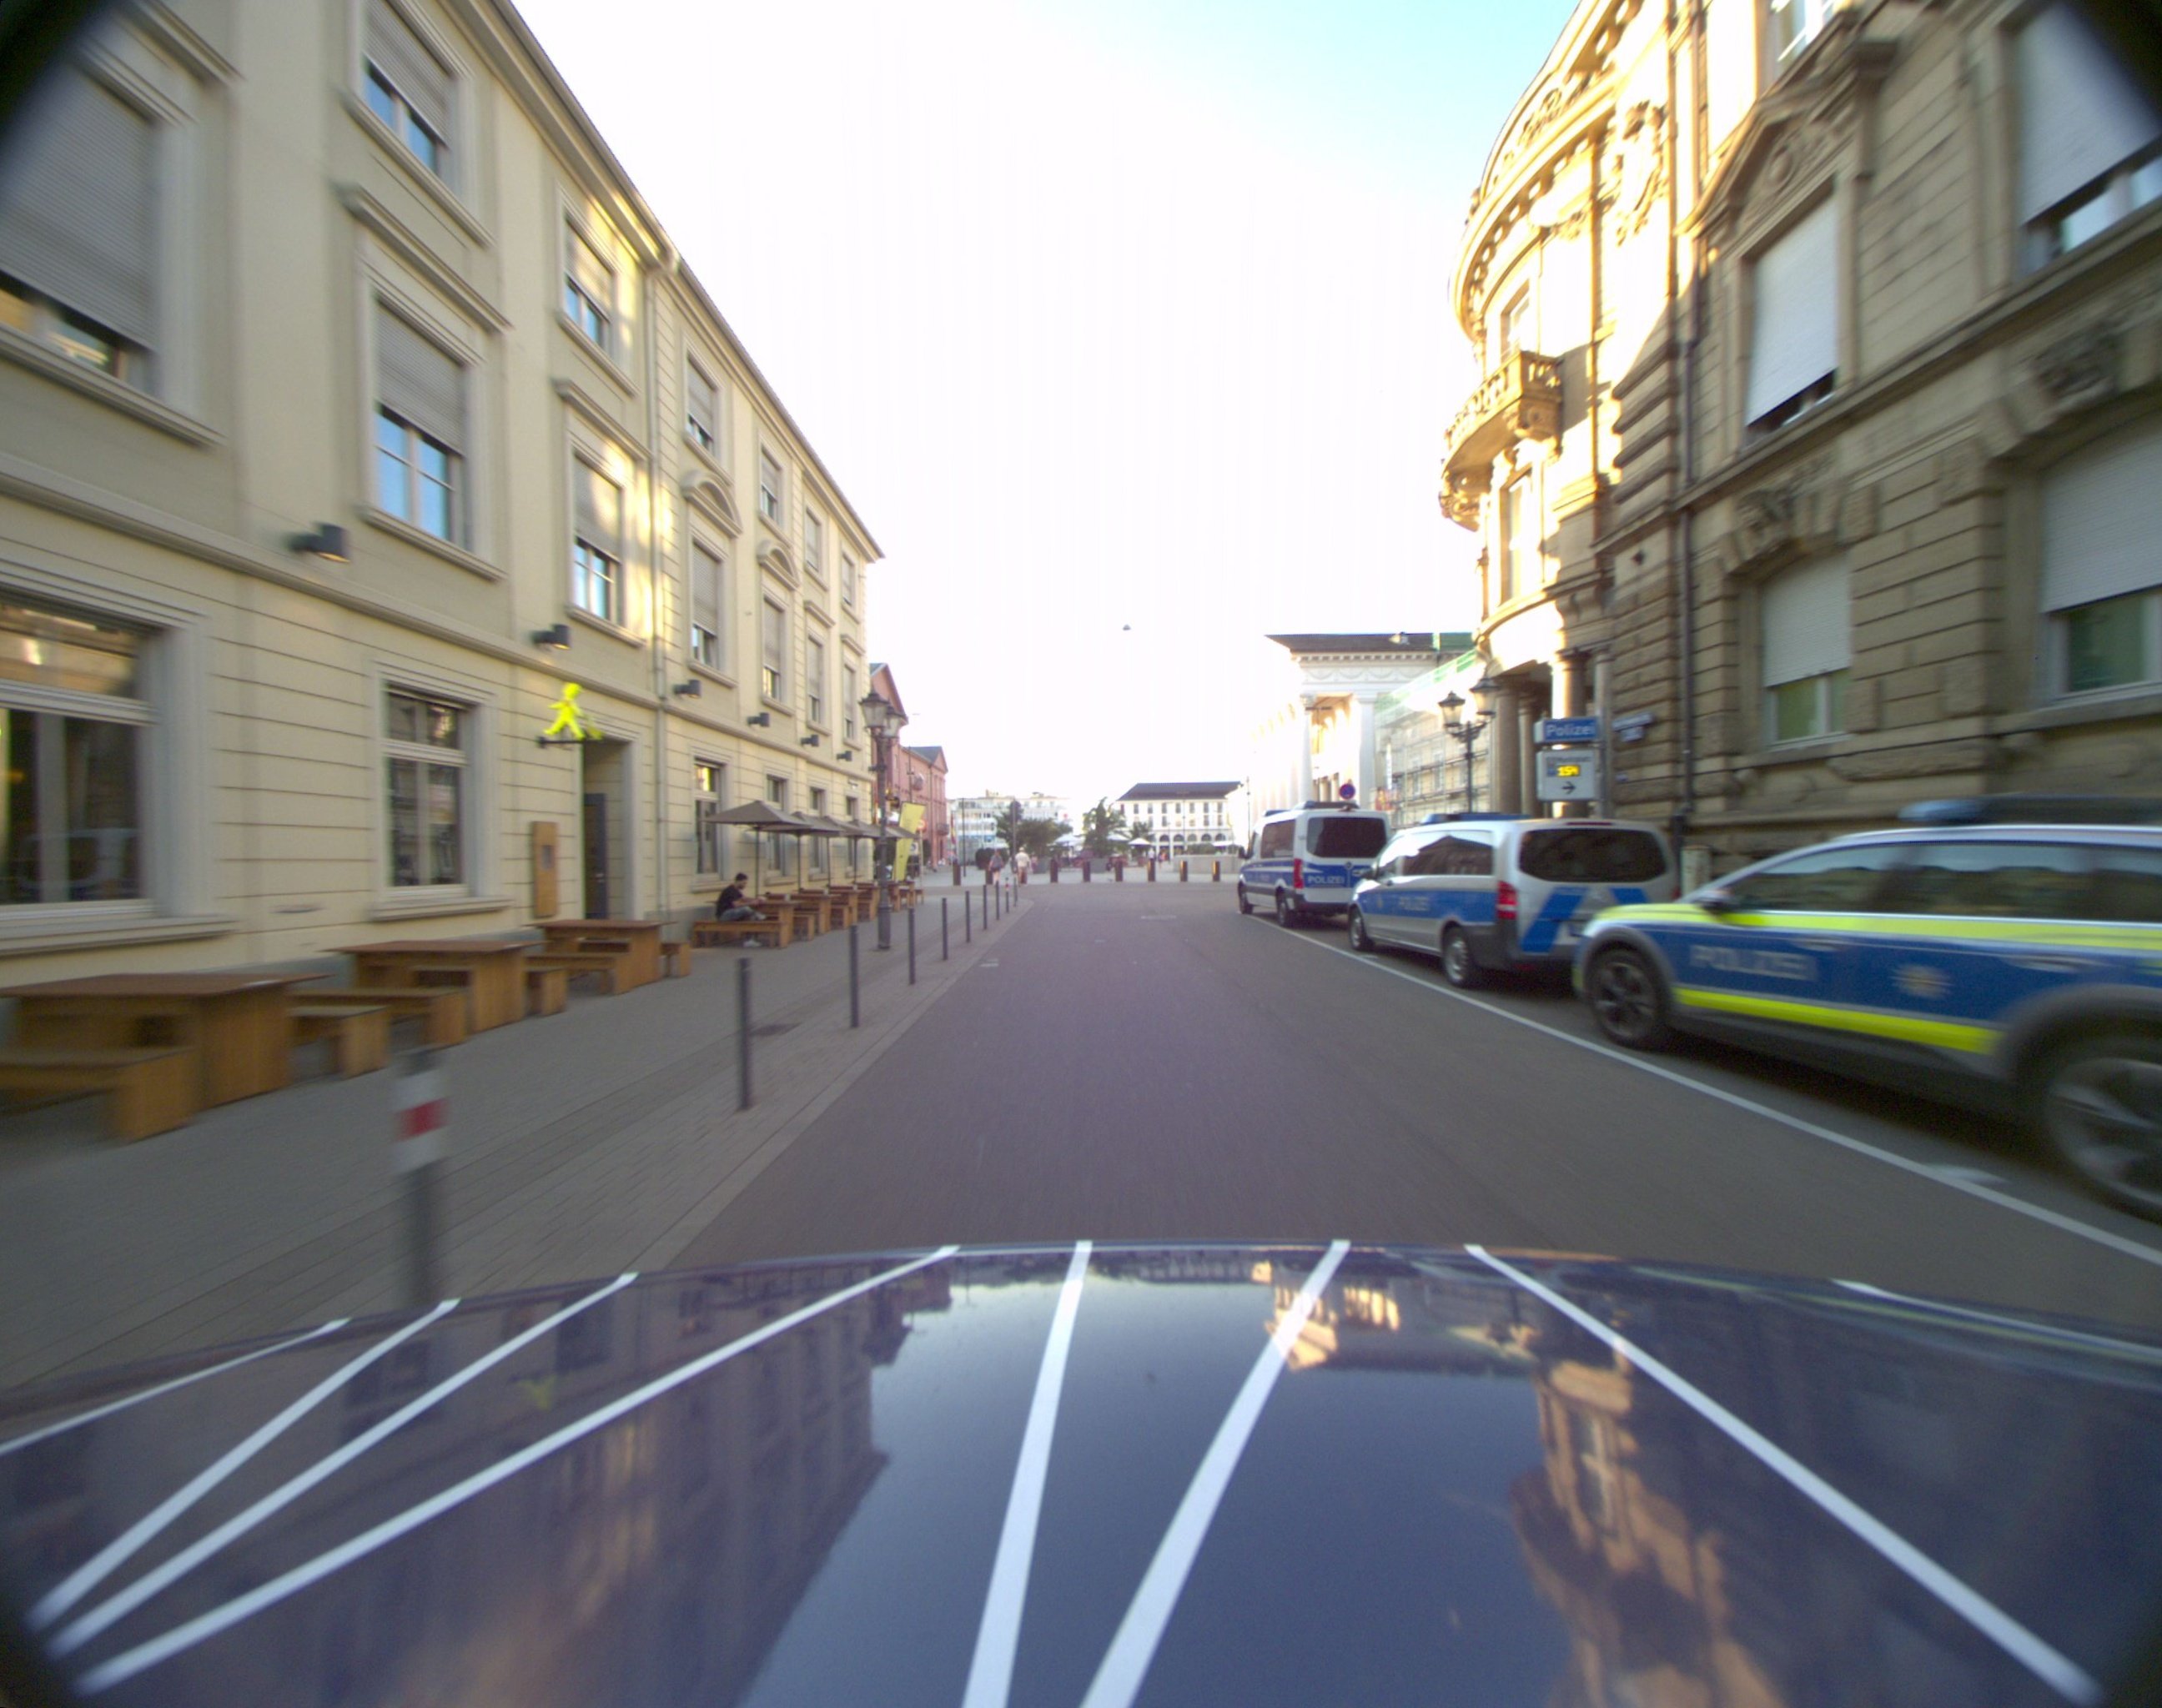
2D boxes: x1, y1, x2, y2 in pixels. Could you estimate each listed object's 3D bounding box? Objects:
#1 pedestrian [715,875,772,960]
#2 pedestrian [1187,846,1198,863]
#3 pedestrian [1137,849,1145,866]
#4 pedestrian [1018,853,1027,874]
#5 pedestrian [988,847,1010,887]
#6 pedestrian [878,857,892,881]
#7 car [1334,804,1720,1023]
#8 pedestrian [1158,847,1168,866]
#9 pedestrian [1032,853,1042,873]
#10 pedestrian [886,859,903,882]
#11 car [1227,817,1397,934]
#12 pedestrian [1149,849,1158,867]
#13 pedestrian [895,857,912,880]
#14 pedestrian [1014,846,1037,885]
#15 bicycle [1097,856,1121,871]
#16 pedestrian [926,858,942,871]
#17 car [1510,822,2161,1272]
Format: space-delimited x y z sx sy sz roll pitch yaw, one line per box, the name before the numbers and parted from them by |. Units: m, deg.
pedestrian | -5.735 1.058 12.953 0.777 1.351 0.723 -1 1 -16
pedestrian | 12.179 0.035 83.314 1.091 1.900 0.881 -1 1 4
pedestrian | 6.227 0.338 78.704 0.856 1.720 0.881 -1 1 4
pedestrian | -4.453 0.707 57.945 0.683 1.557 0.652 -1 1 -2
pedestrian | -3.637 0.570 33.806 0.607 1.720 0.719 0 1 43
pedestrian | -12.129 0.918 47.005 0.585 1.439 0.829 -1 1 -28
car | 5.099 0.542 9.829 1.998 2.075 5.206 -1 1 1
pedestrian | 7.825 0.234 72.772 0.856 1.720 0.881 -1 1 4
pedestrian | -3.350 0.684 58.117 0.683 1.550 0.652 -1 1 -2
pedestrian | -11.743 1.016 47.757 0.828 1.439 0.585 -1 1 33
car | 4.846 0.400 16.882 1.999 2.158 5.205 -1 0 -2
pedestrian | 6.978 0.357 73.198 0.856 1.720 0.881 -1 1 4
pedestrian | -11.296 0.923 48.412 0.828 1.439 0.585 -1 1 31
pedestrian | -2.476 0.525 33.981 0.667 1.720 0.767 0 1 43
bicycle | 2.188 0.728 59.427 1.683 1.115 0.846 -1 1 35
pedestrian | -13.952 0.998 71.975 1.405 1.255 1.326 -1 1 -12
car | 5.062 0.723 4.460 1.999 1.742 4.987 -1 1 -4
